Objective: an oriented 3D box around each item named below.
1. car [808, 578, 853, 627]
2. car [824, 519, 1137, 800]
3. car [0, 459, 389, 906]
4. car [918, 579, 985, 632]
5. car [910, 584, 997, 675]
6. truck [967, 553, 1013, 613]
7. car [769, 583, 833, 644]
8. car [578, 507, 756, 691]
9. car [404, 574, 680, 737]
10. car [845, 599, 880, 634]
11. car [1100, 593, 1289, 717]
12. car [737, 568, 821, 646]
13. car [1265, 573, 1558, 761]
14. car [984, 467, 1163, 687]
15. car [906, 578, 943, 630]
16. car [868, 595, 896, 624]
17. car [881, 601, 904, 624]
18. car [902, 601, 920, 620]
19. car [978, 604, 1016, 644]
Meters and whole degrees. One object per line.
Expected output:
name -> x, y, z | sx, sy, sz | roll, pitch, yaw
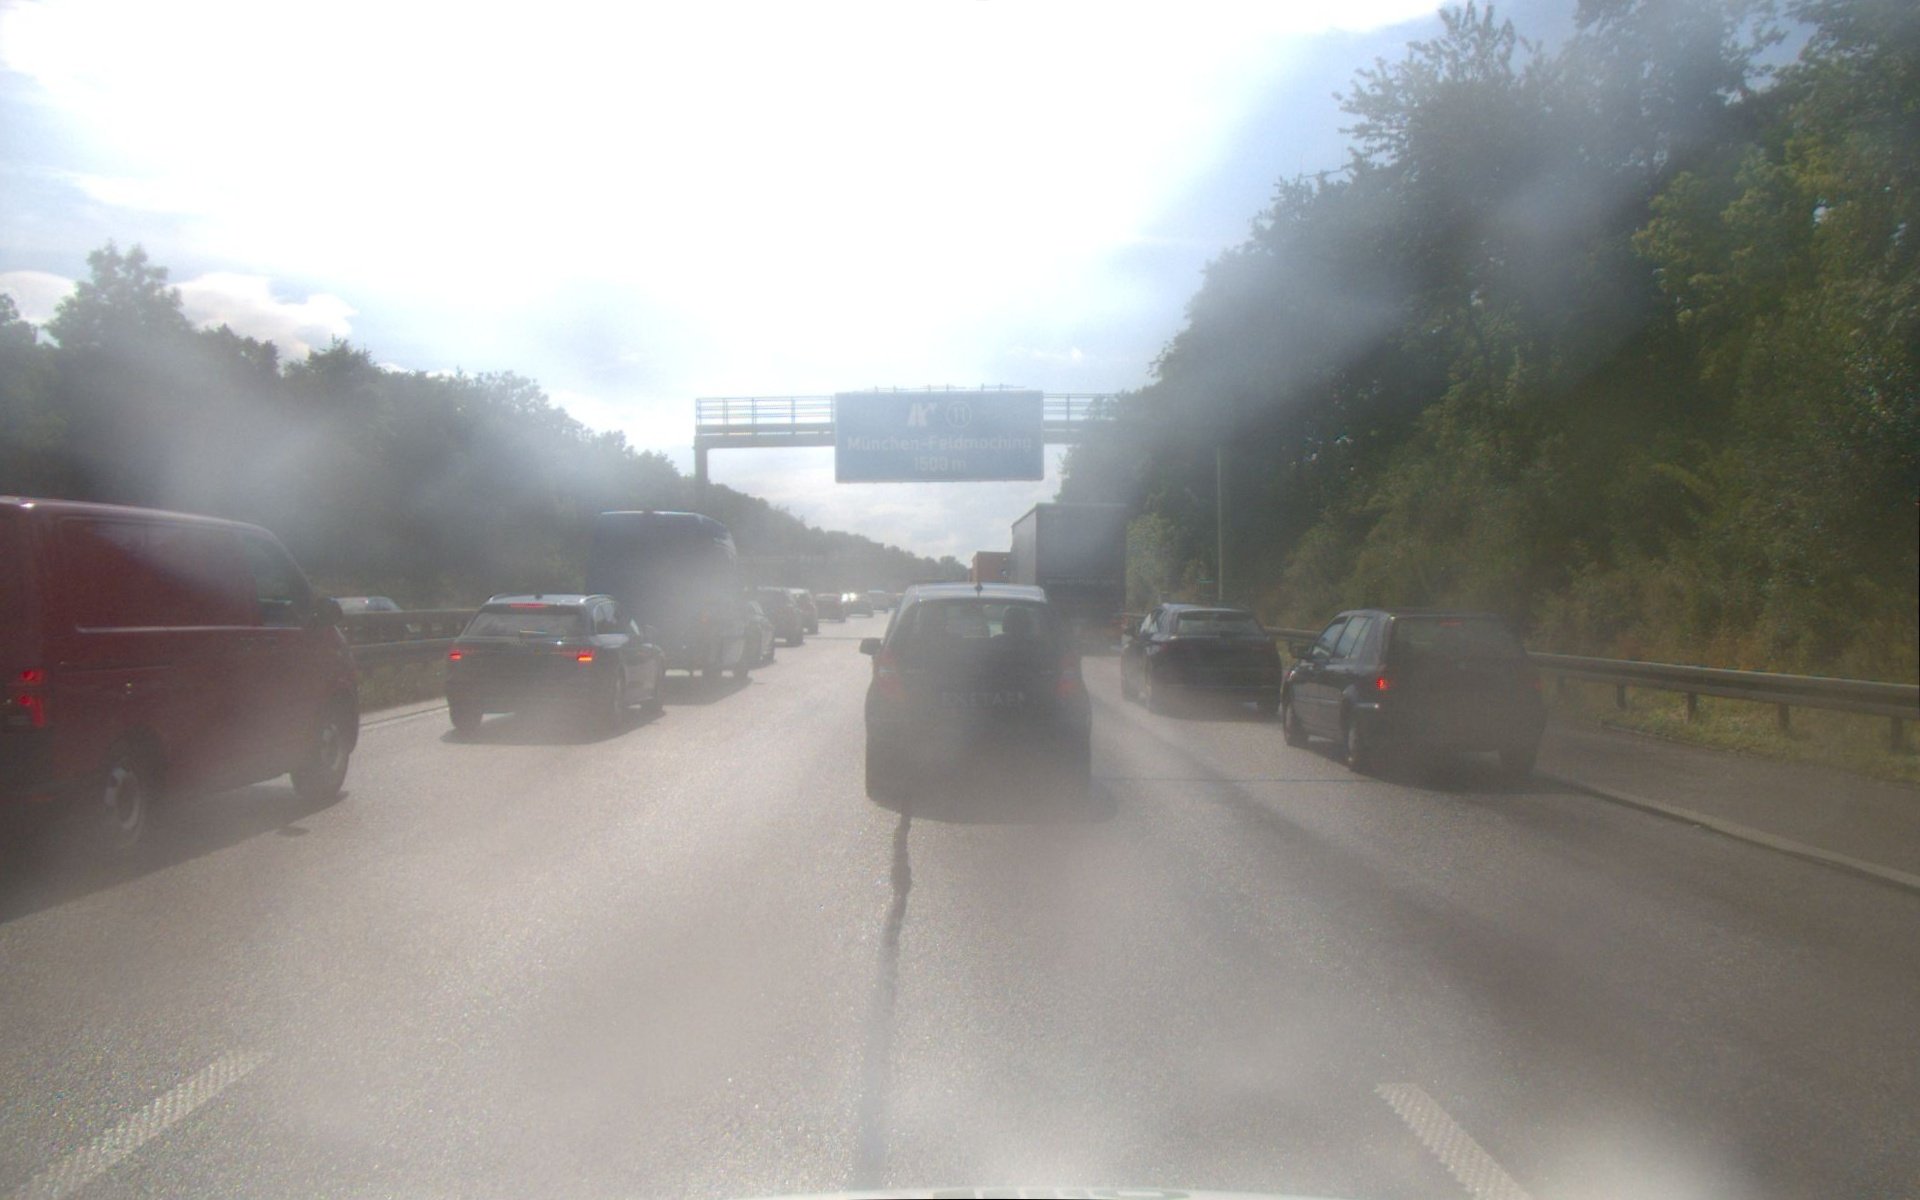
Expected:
car -> -6.758, 0.132, 86.498 | 1.953, 2.427, 5.258 | 1, 0, -1
car -> 0.046, 0.438, 14.295 | 2.229, 1.989, 4.818 | 1, 0, -3
car -> -5.281, 0.380, 10.109 | 1.938, 2.090, 4.755 | 1, 0, -1
car -> -0.298, 0.183, 51.125 | 1.828, 1.542, 3.973 | 1, 0, -3
car -> -0.195, 0.603, 35.709 | 1.659, 1.836, 3.973 | 1, 0, -3
truck -> 1.898, -1.042, 106.456 | 2.719, 3.695, 5.915 | 1, 0, -1
car -> -5.886, 0.493, 61.850 | 1.953, 2.152, 4.888 | 1, 0, -1
car -> -4.596, -0.007, 26.748 | 1.953, 2.661, 5.258 | 1, 0, -1
car -> -4.563, 0.561, 18.842 | 1.953, 1.592, 4.755 | 1, 0, -1
car -> -6.211, 1.066, 105.950 | 1.953, 2.152, 4.888 | 1, 0, -1
car -> 3.141, 0.707, 22.908 | 1.828, 1.542, 3.973 | 1, 0, -3
car -> -5.227, 0.203, 48.338 | 1.953, 2.152, 4.888 | 1, 0, -1
car -> 4.130, 0.566, 15.749 | 1.559, 1.542, 3.974 | 1, 0, -2
car -> 3.241, -0.597, 53.682 | 4.314, 5.932, 16.814 | 1, 0, -1
car -> -1.938, 0.227, 92.244 | 1.953, 2.794, 5.258 | 1, 0, -1
car -> -6.094, 0.728, 129.176 | 1.953, 2.152, 4.888 | 1, 0, -1
car -> -6.307, 1.171, 154.644 | 1.953, 2.152, 4.888 | 1, 0, -1
car -> -5.805, 1.271, 195.229 | 1.953, 2.152, 4.888 | 1, 0, -1
car -> 2.034, 1.309, 92.677 | 1.953, 2.152, 4.888 | 1, 0, -1
